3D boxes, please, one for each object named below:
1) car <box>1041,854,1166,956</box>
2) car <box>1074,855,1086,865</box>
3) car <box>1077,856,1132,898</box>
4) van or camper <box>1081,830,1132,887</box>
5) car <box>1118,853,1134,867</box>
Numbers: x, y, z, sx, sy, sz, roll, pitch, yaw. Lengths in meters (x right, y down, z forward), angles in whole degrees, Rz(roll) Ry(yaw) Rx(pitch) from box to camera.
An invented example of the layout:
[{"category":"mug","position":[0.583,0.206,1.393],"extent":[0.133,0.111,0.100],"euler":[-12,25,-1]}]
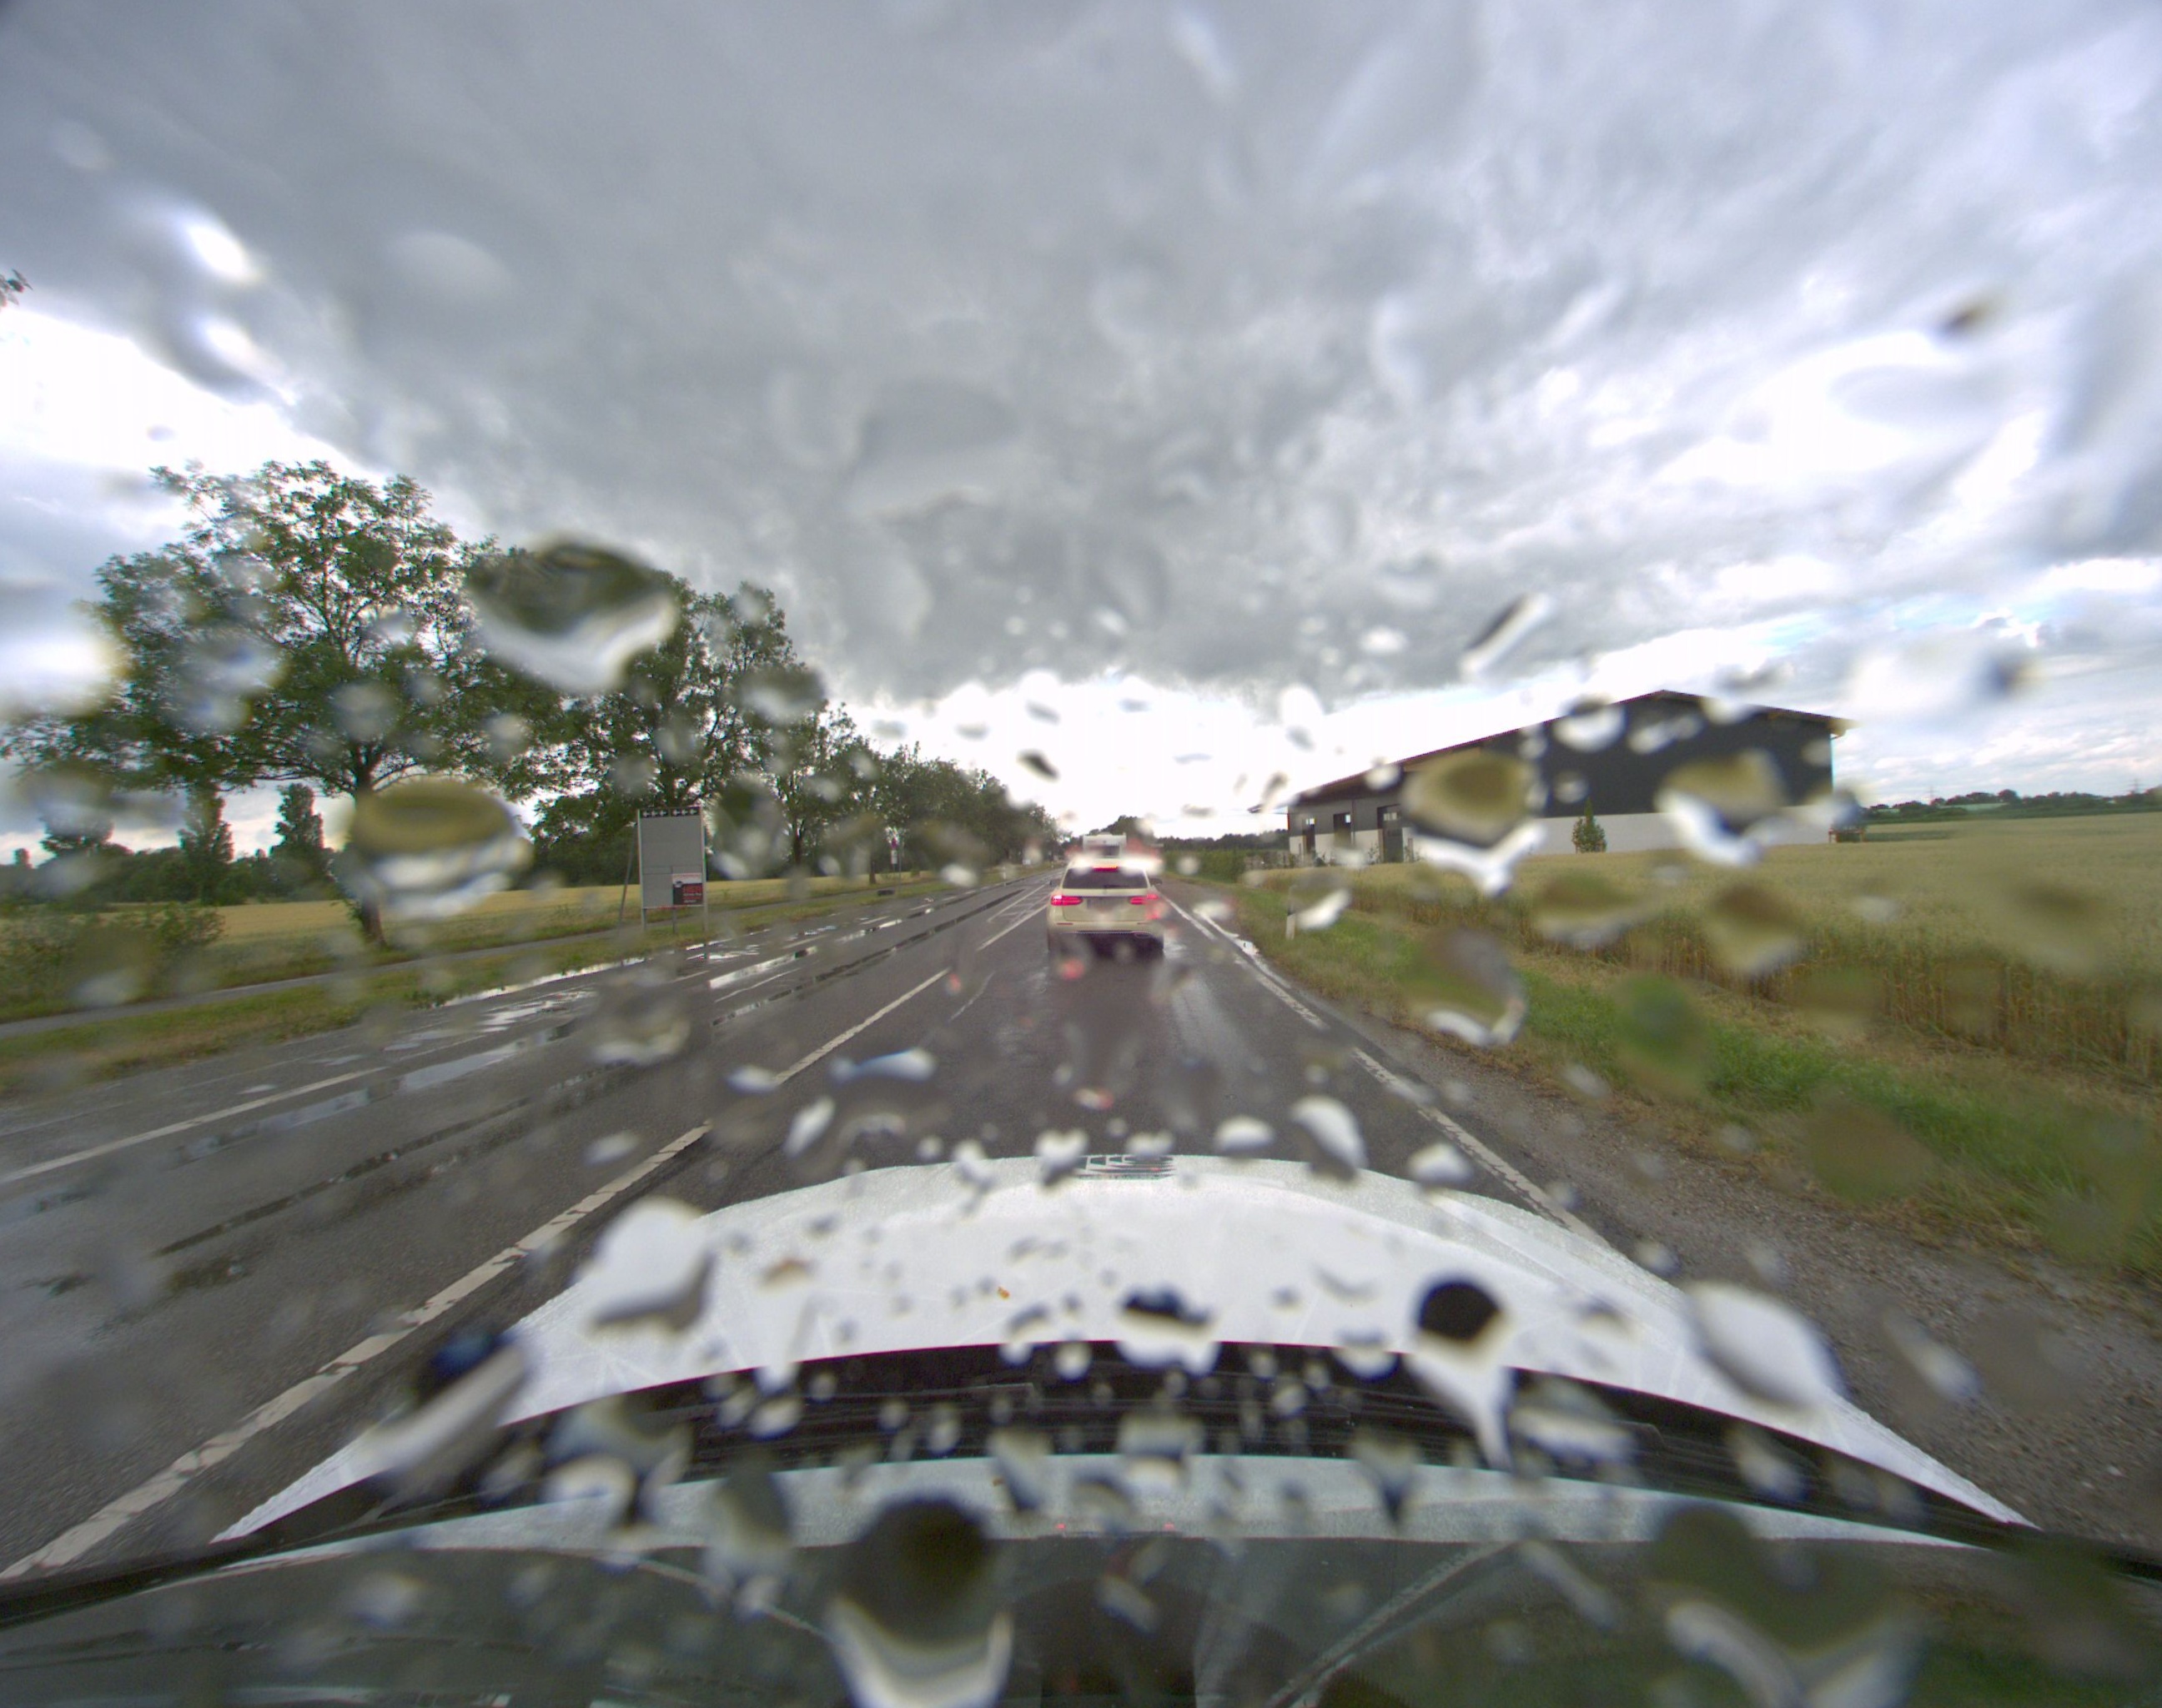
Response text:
[{"category":"car","position":[0.405,0.749,13.900],"extent":[1.790,1.464,4.033],"euler":[-1,0,2]},{"category":"car","position":[-0.103,1.128,144.367],"extent":[1.909,1.632,4.358],"euler":[-3,0,2]},{"category":"car","position":[0.862,0.813,30.626],"extent":[1.888,1.429,3.928],"euler":[-1,0,1]},{"category":"van or camper","position":[1.458,0.235,45.016],"extent":[2.487,2.831,5.937],"euler":[-3,0,3]},{"category":"car","position":[5.307,0.727,95.872],"extent":[1.886,1.590,3.931],"euler":[-1,0,3]}]
